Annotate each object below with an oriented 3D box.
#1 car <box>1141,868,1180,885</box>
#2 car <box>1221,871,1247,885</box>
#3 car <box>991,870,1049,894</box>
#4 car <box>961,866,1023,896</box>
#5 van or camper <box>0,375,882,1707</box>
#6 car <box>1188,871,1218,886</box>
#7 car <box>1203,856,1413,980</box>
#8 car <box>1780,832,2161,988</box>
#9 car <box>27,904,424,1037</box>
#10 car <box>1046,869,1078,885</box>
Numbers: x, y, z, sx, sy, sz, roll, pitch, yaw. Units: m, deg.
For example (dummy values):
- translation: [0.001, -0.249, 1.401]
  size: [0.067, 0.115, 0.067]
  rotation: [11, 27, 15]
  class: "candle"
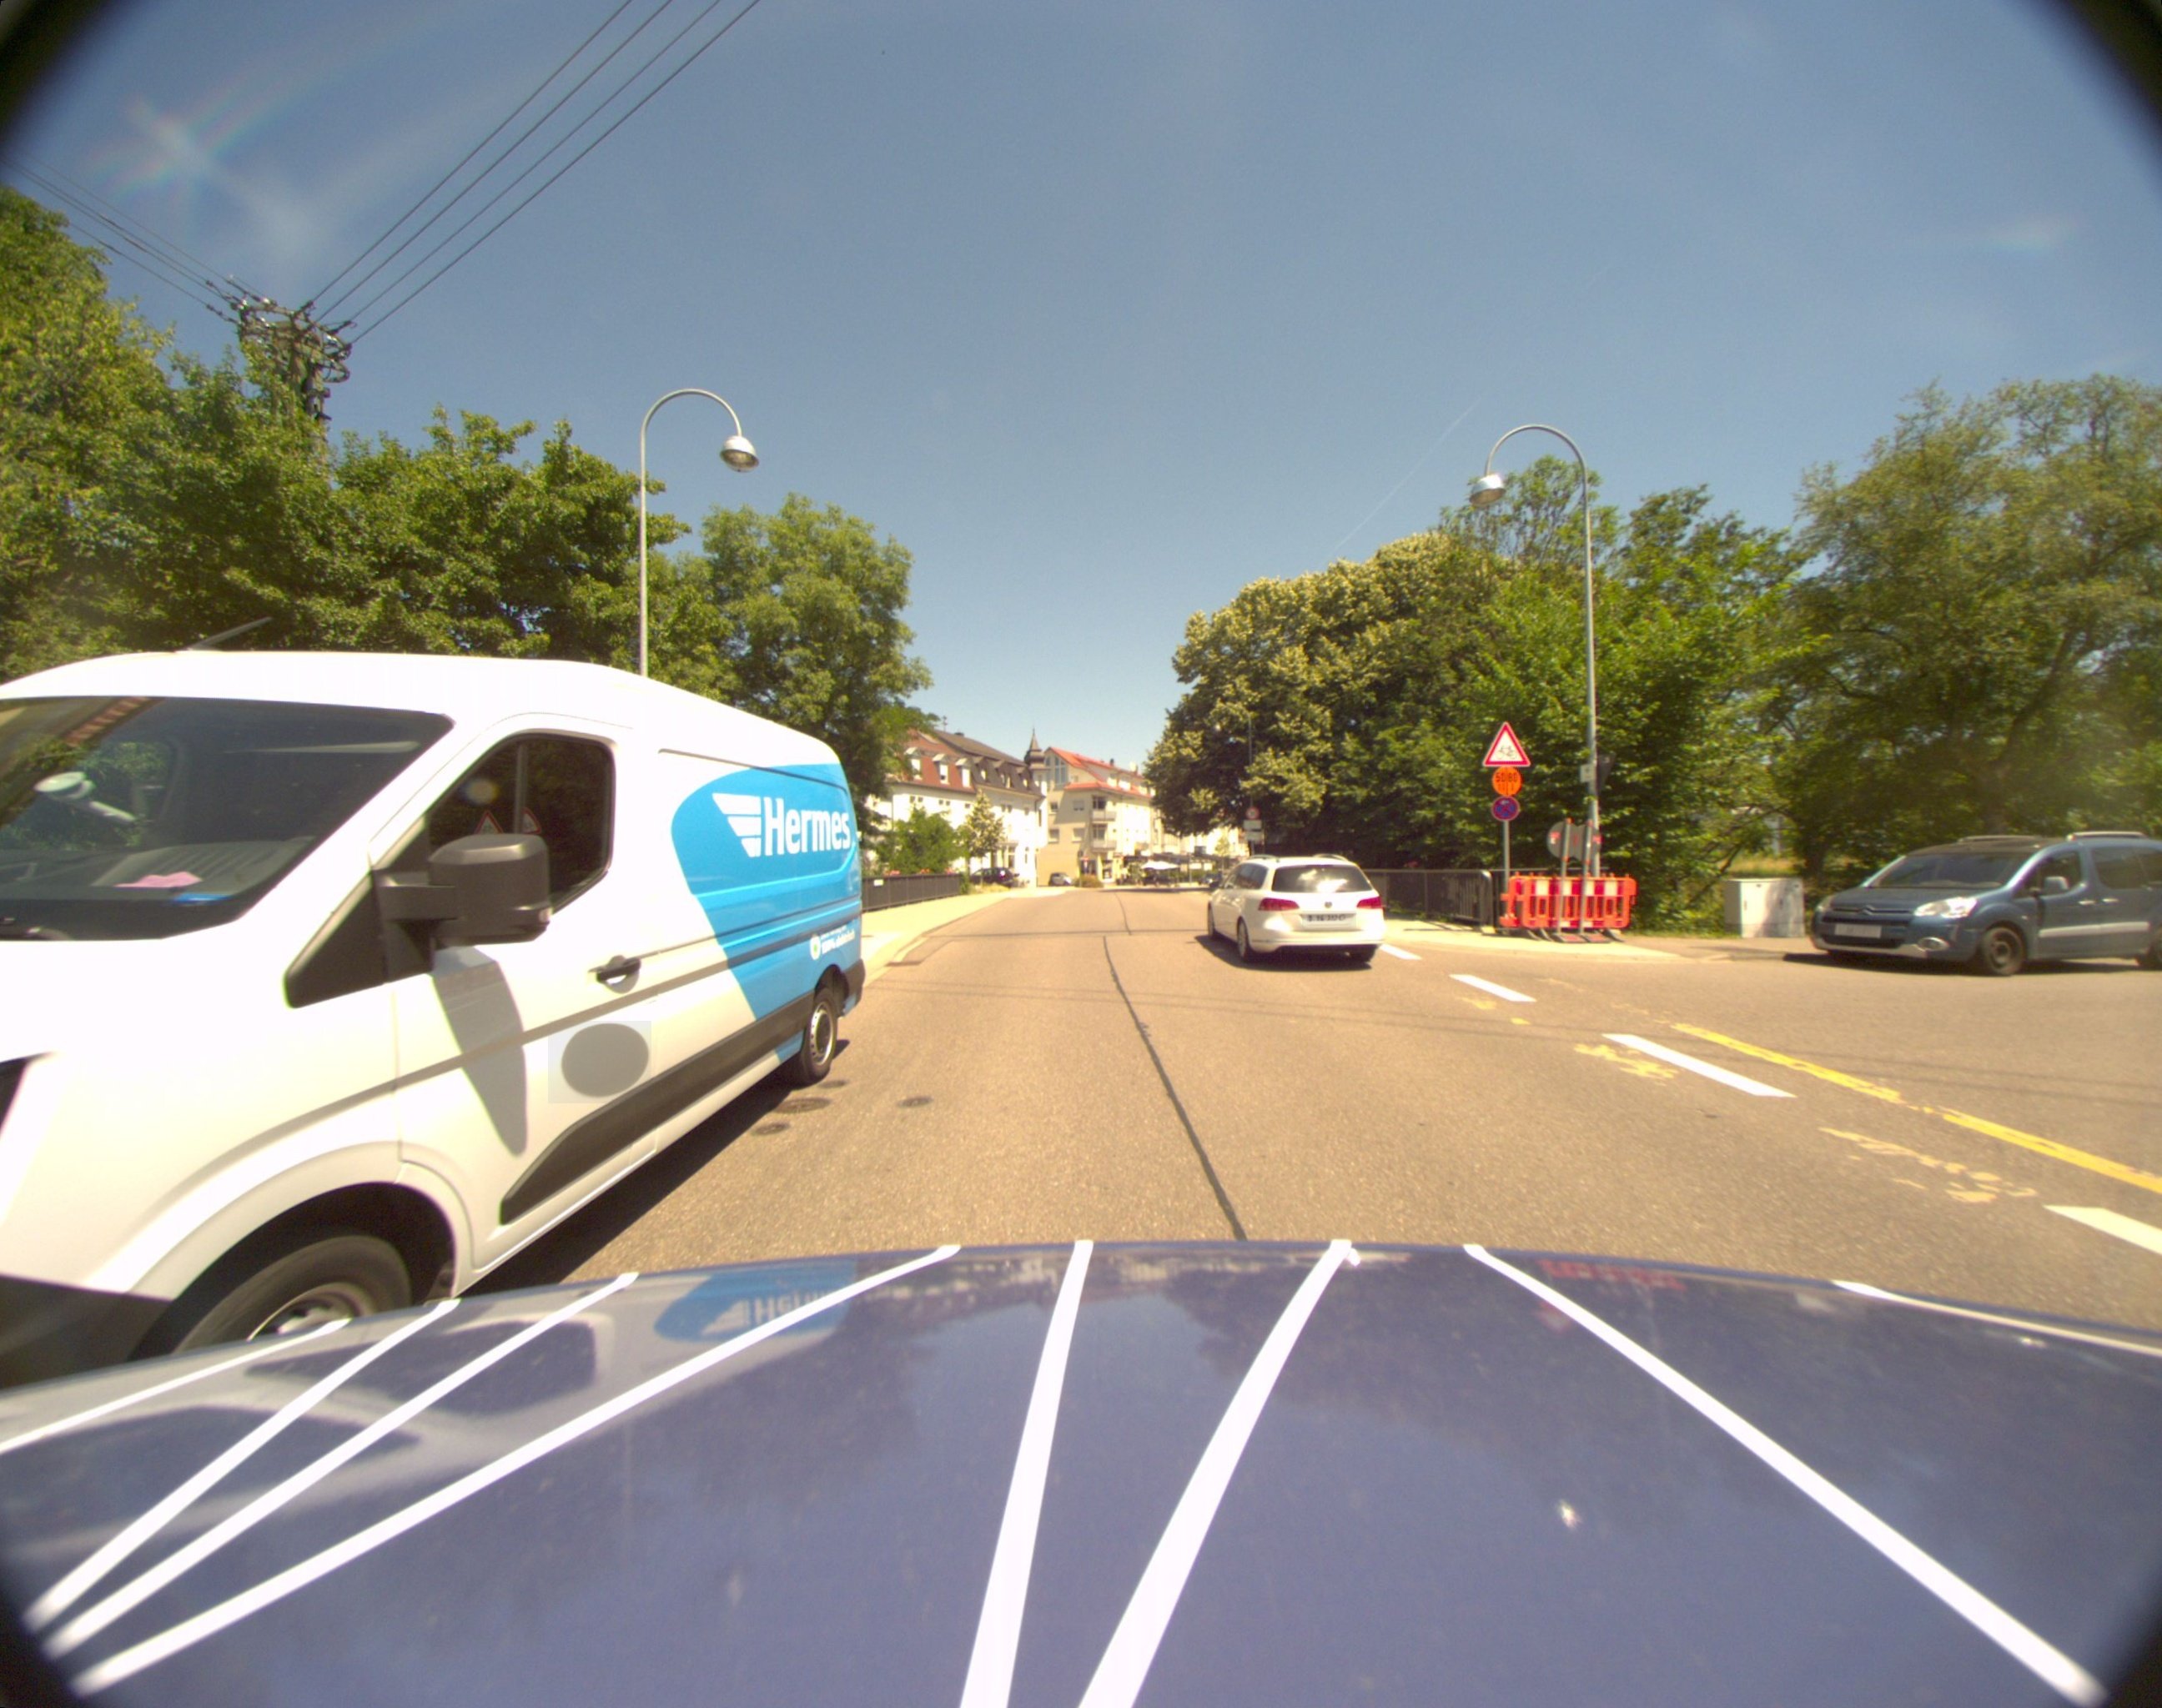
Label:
- translation: [8.439, 2.369, 80.683]
  size: [4.009, 1.705, 1.995]
  rotation: [3, -3, -42]
  class: "car"
- translation: [19.296, 2.987, 95.617]
  size: [1.994, 1.674, 4.008]
  rotation: [0, 0, 30]
  class: "car"
- translation: [-4.768, 2.191, 59.602]
  size: [3.991, 1.660, 2.004]
  rotation: [-4, -2, 27]
  class: "car"
- translation: [-6.623, 2.024, 56.423]
  size: [3.991, 2.001, 2.003]
  rotation: [-4, -1, 26]
  class: "car"
- translation: [-2.774, 0.463, 3.646]
  size: [2.114, 2.453, 6.175]
  rotation: [1, 0, -1]
  class: "van or camper"
- translation: [14.298, 2.835, 89.201]
  size: [2.001, 1.705, 3.995]
  rotation: [1, -2, -16]
  class: "car"
- translation: [3.154, 0.823, 11.555]
  size: [1.998, 1.498, 4.289]
  rotation: [-1, -1, 2]
  class: "car"
- translation: [12.388, 0.700, 10.381]
  size: [4.439, 1.862, 1.818]
  rotation: [0, -2, -10]
  class: "car"
- translation: [-12.623, 1.686, 11.344]
  size: [4.400, 1.458, 1.646]
  rotation: [-5, -1, 7]
  class: "car"
- translation: [-2.012, 2.474, 81.840]
  size: [3.038, 1.443, 1.570]
  rotation: [-3, -1, 22]
  class: "car"
